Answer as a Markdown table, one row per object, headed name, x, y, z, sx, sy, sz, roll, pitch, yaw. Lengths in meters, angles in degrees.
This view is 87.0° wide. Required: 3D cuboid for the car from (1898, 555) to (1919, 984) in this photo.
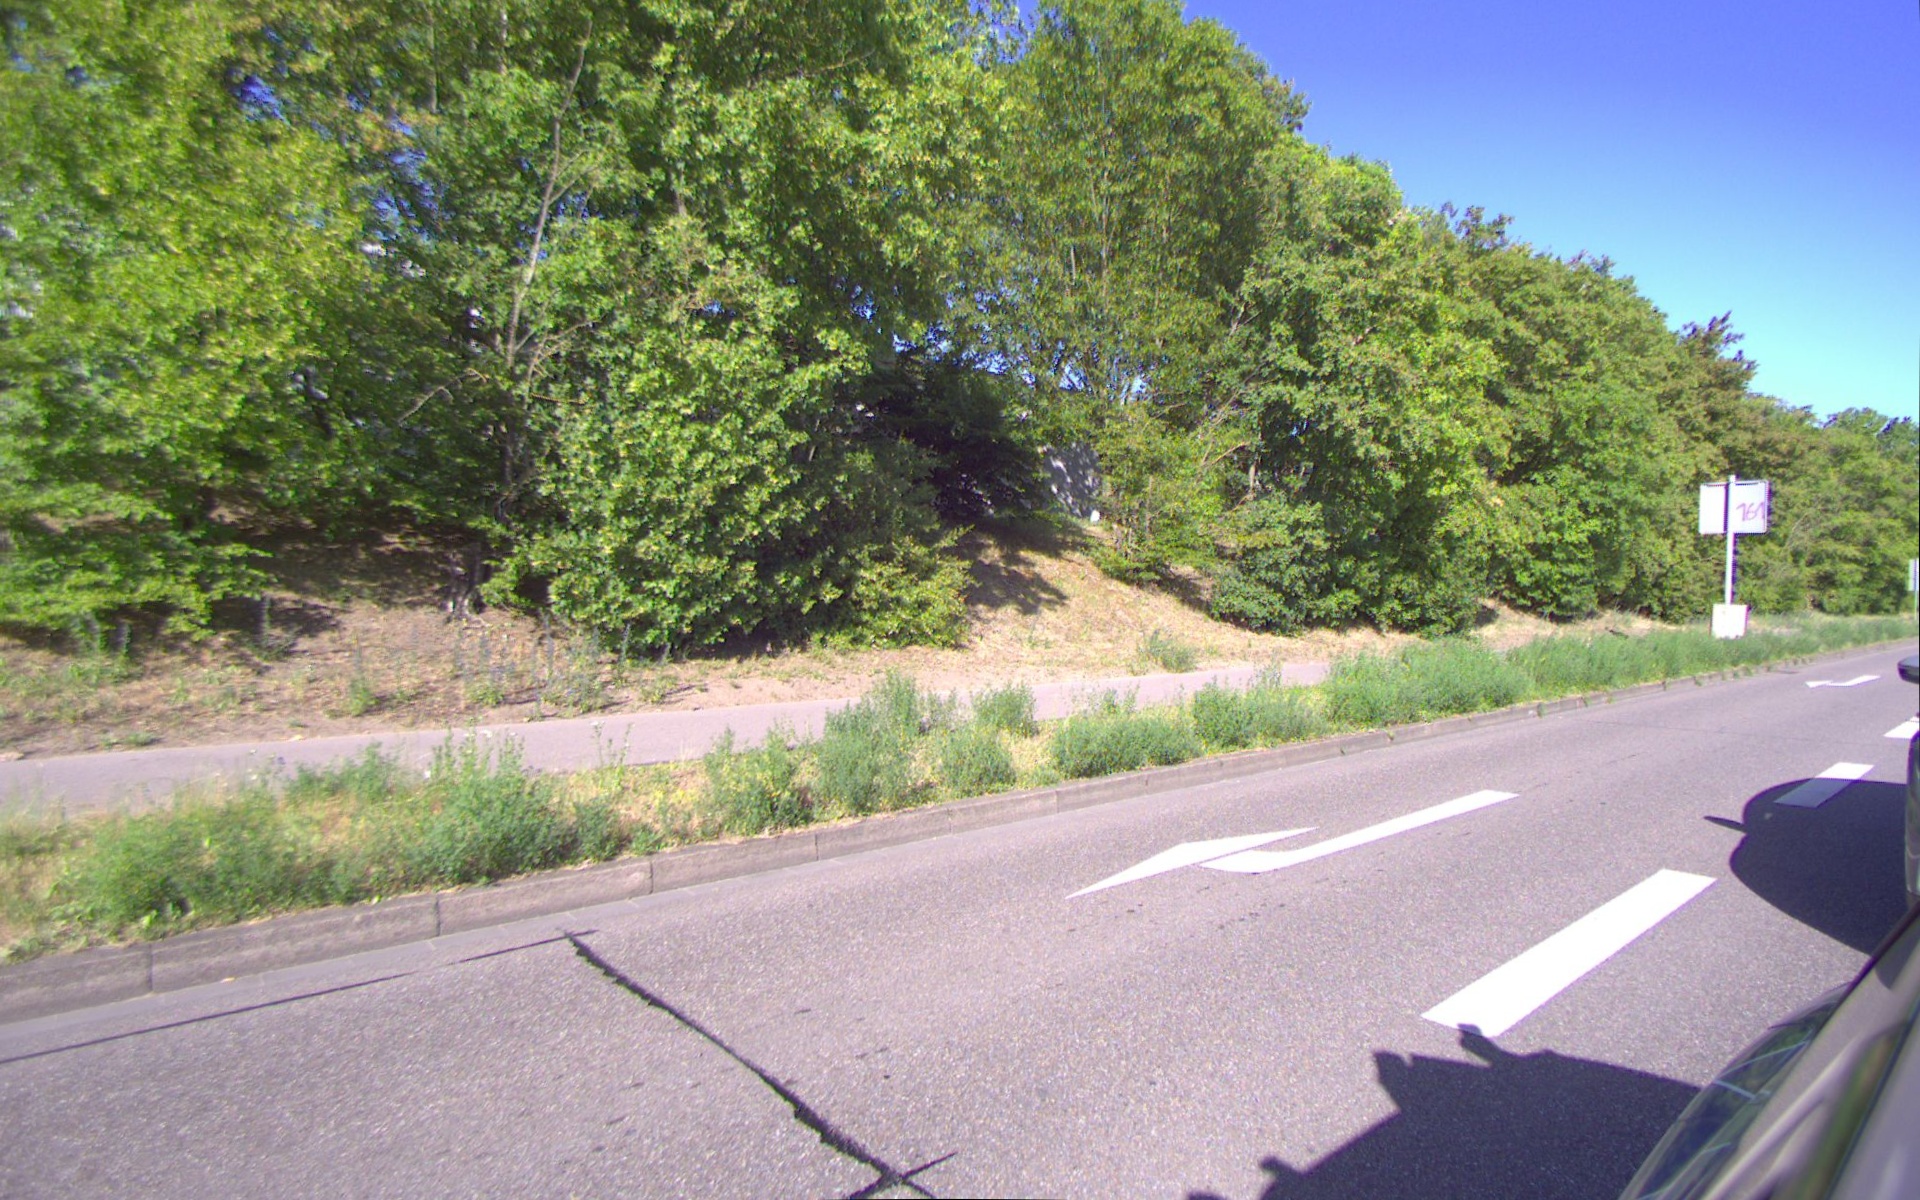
| name | x | y | z | sx | sy | sz | roll | pitch | yaw |
| --- | --- | --- | --- | --- | --- | --- | --- | --- | --- |
| car | 5.769 | 0.629 | 4.575 | 4.327 | 1.603 | 1.860 | 0 | 0 | -42 |
